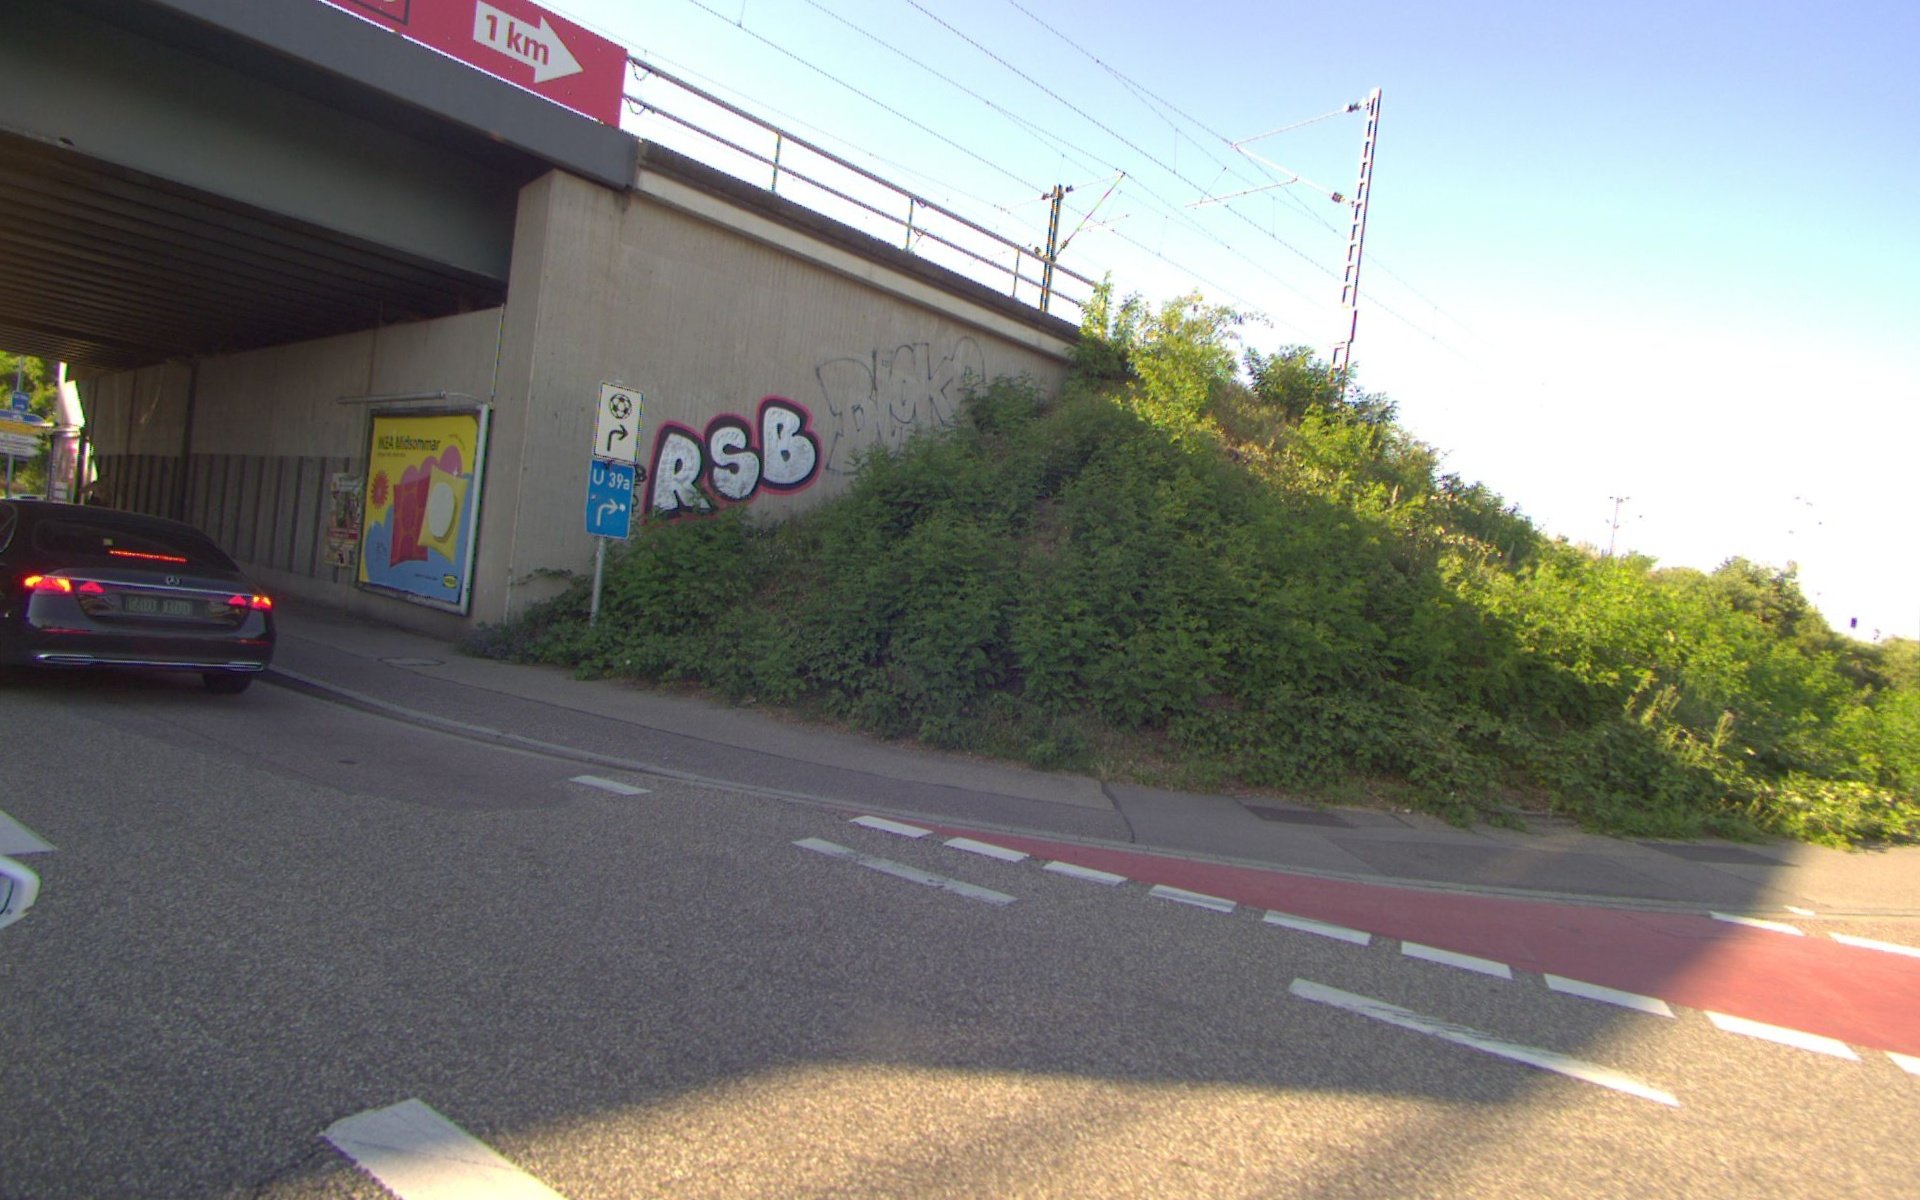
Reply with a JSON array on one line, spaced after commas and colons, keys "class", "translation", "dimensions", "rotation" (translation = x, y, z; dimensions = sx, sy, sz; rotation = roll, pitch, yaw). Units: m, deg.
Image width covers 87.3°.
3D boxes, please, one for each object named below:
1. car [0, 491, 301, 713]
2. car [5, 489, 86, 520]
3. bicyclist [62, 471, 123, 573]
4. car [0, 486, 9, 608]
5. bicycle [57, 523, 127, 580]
[{"class": "car", "translation": [-7.908, -0.125, 8.939], "dimensions": [4.532, 1.472, 1.742], "rotation": [8, 0, 34]}, {"class": "car", "translation": [-45.703, -4.771, 50.296], "dimensions": [1.201, 1.094, 2.819], "rotation": [6, -1, 40]}, {"class": "bicyclist", "translation": [-17.437, -1.567, 20.222], "dimensions": [0.821, 1.930, 0.681], "rotation": [6, 0, 40]}, {"class": "car", "translation": [-13.897, -0.845, 12.917], "dimensions": [3.773, 1.514, 1.771], "rotation": [6, 1, 37]}, {"class": "bicycle", "translation": [-17.465, -0.995, 20.209], "dimensions": [2.845, 0.975, 0.578], "rotation": [5, 0, 40]}]
